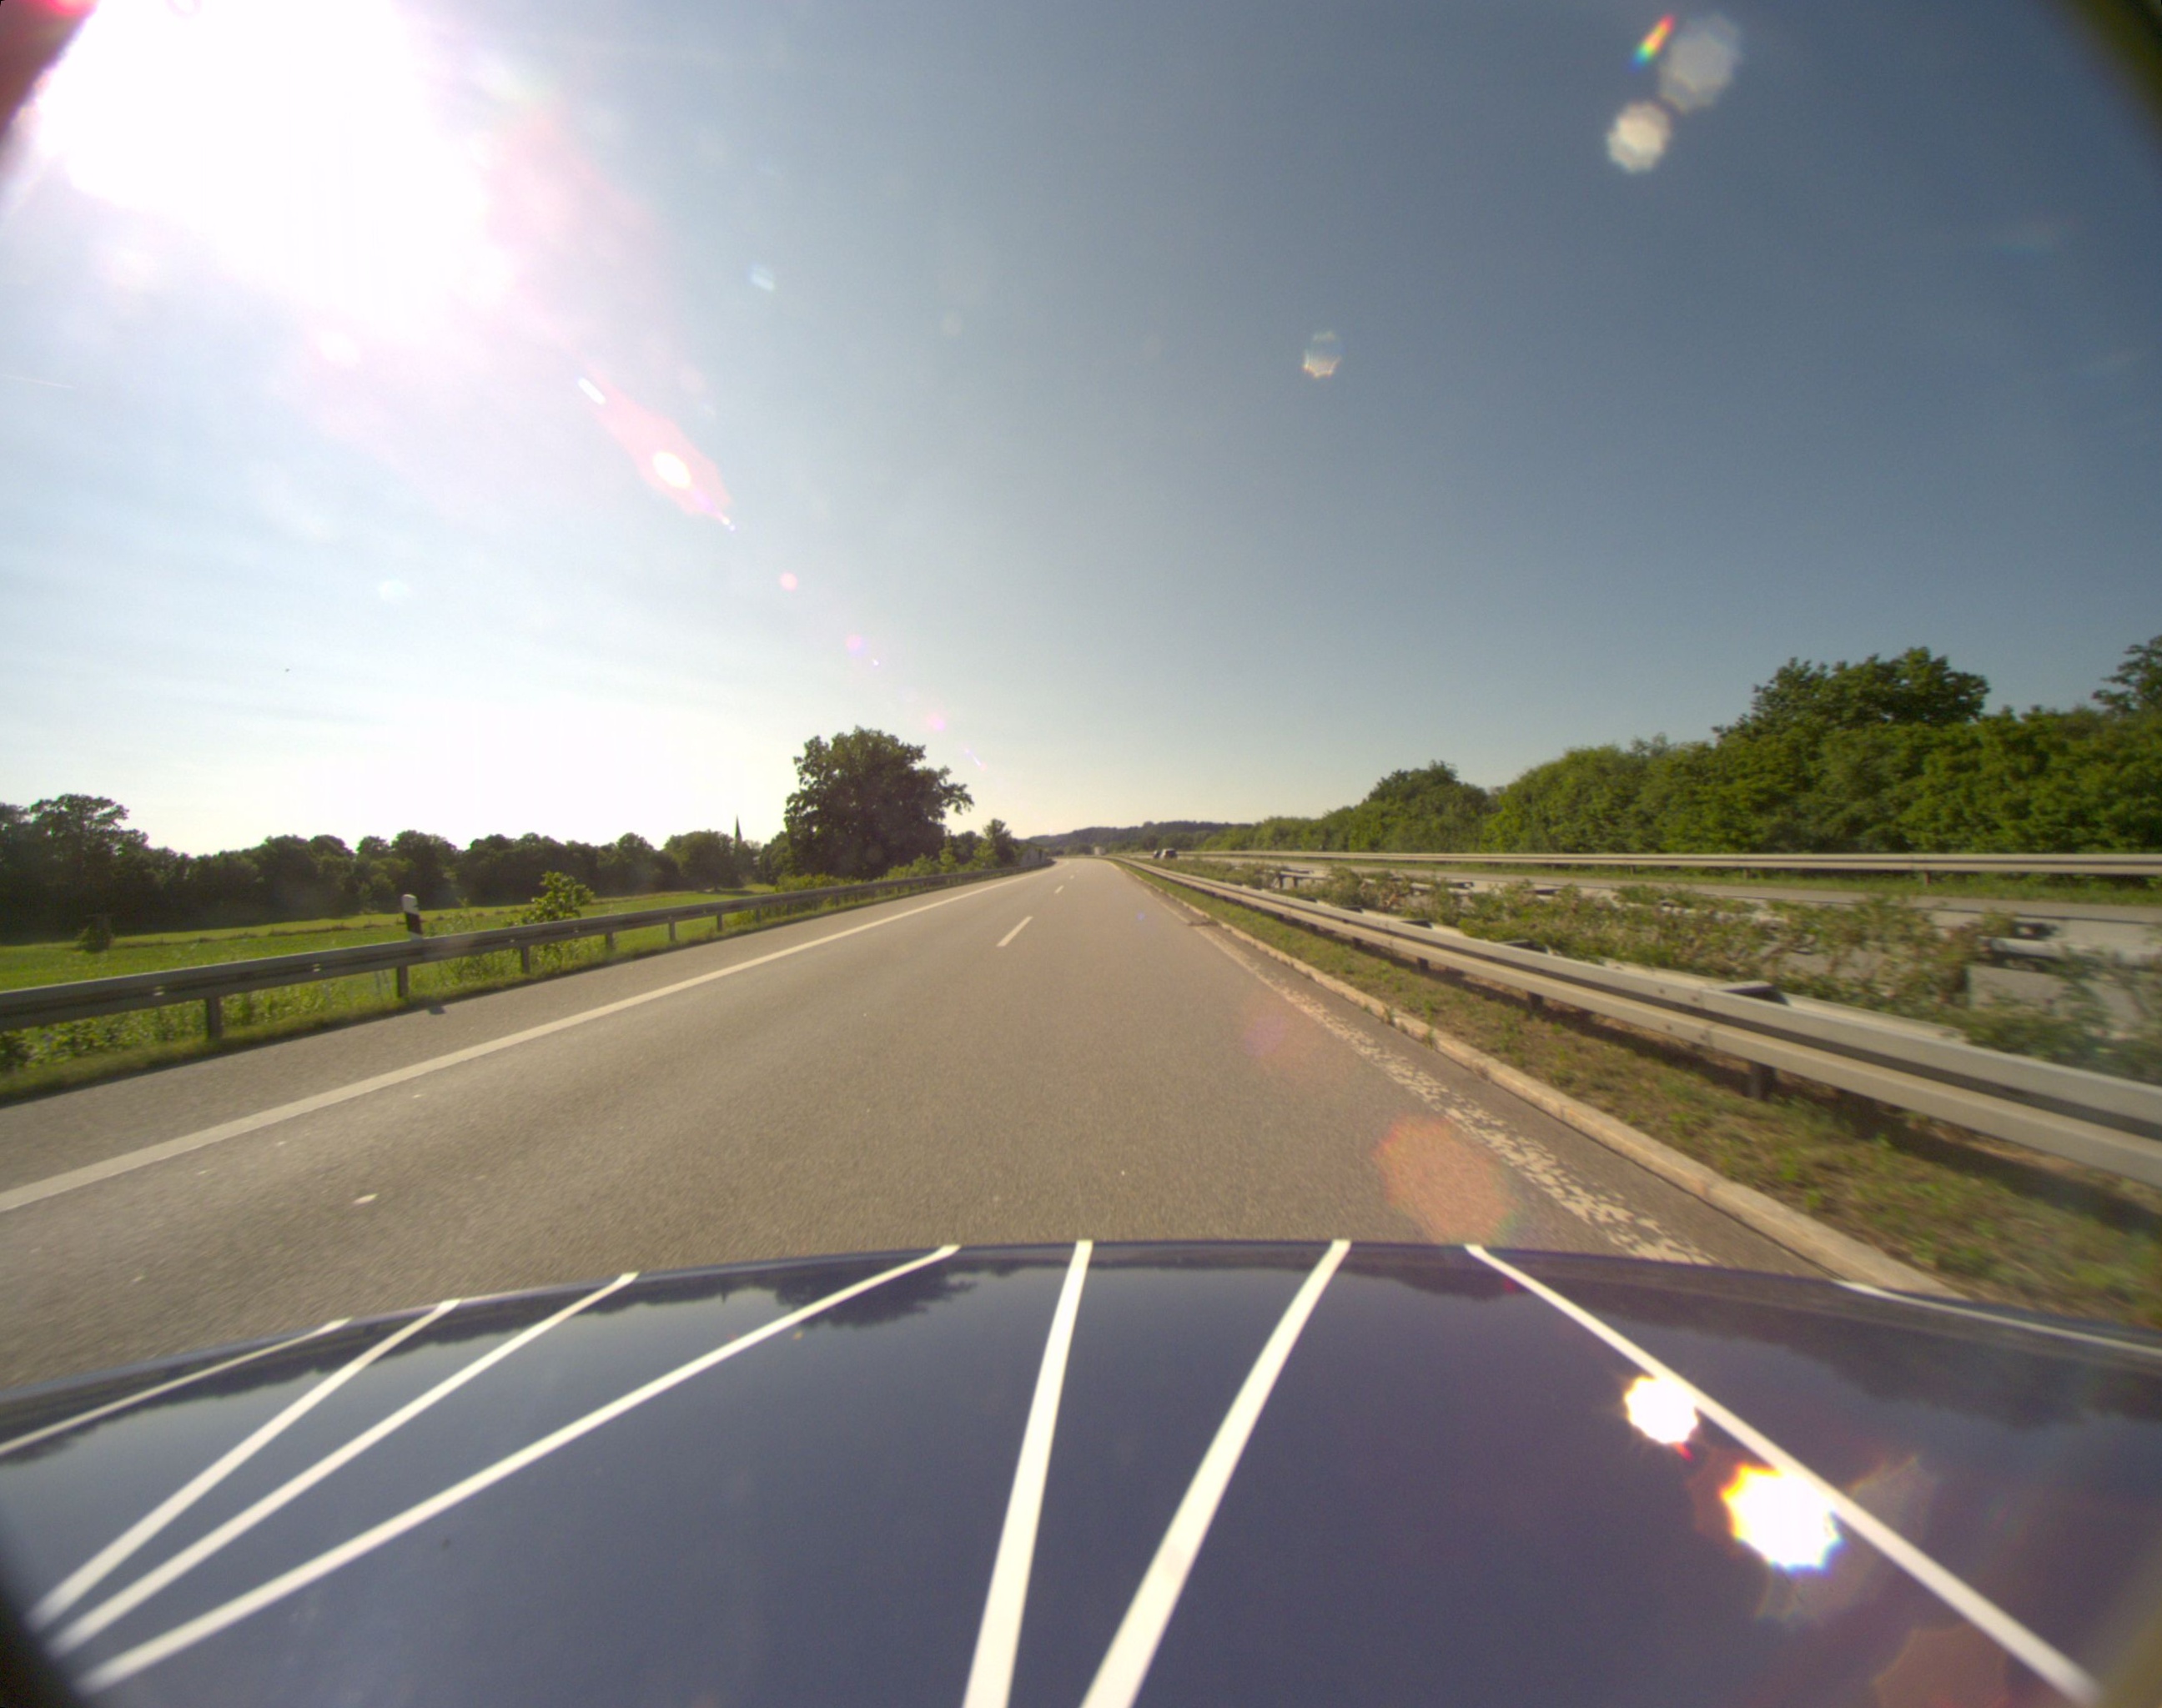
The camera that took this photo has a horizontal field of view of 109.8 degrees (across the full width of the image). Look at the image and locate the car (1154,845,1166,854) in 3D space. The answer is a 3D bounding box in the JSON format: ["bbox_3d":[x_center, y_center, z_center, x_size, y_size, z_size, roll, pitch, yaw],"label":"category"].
[{"bbox_3d":[13.751,-0.767,132.477,1.743,1.437,4.768,-3,0,2],"label":"car"}]

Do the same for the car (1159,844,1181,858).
[{"bbox_3d":[10.463,-0.338,89.674,1.914,1.579,4.916,-2,0,-1],"label":"car"}]
